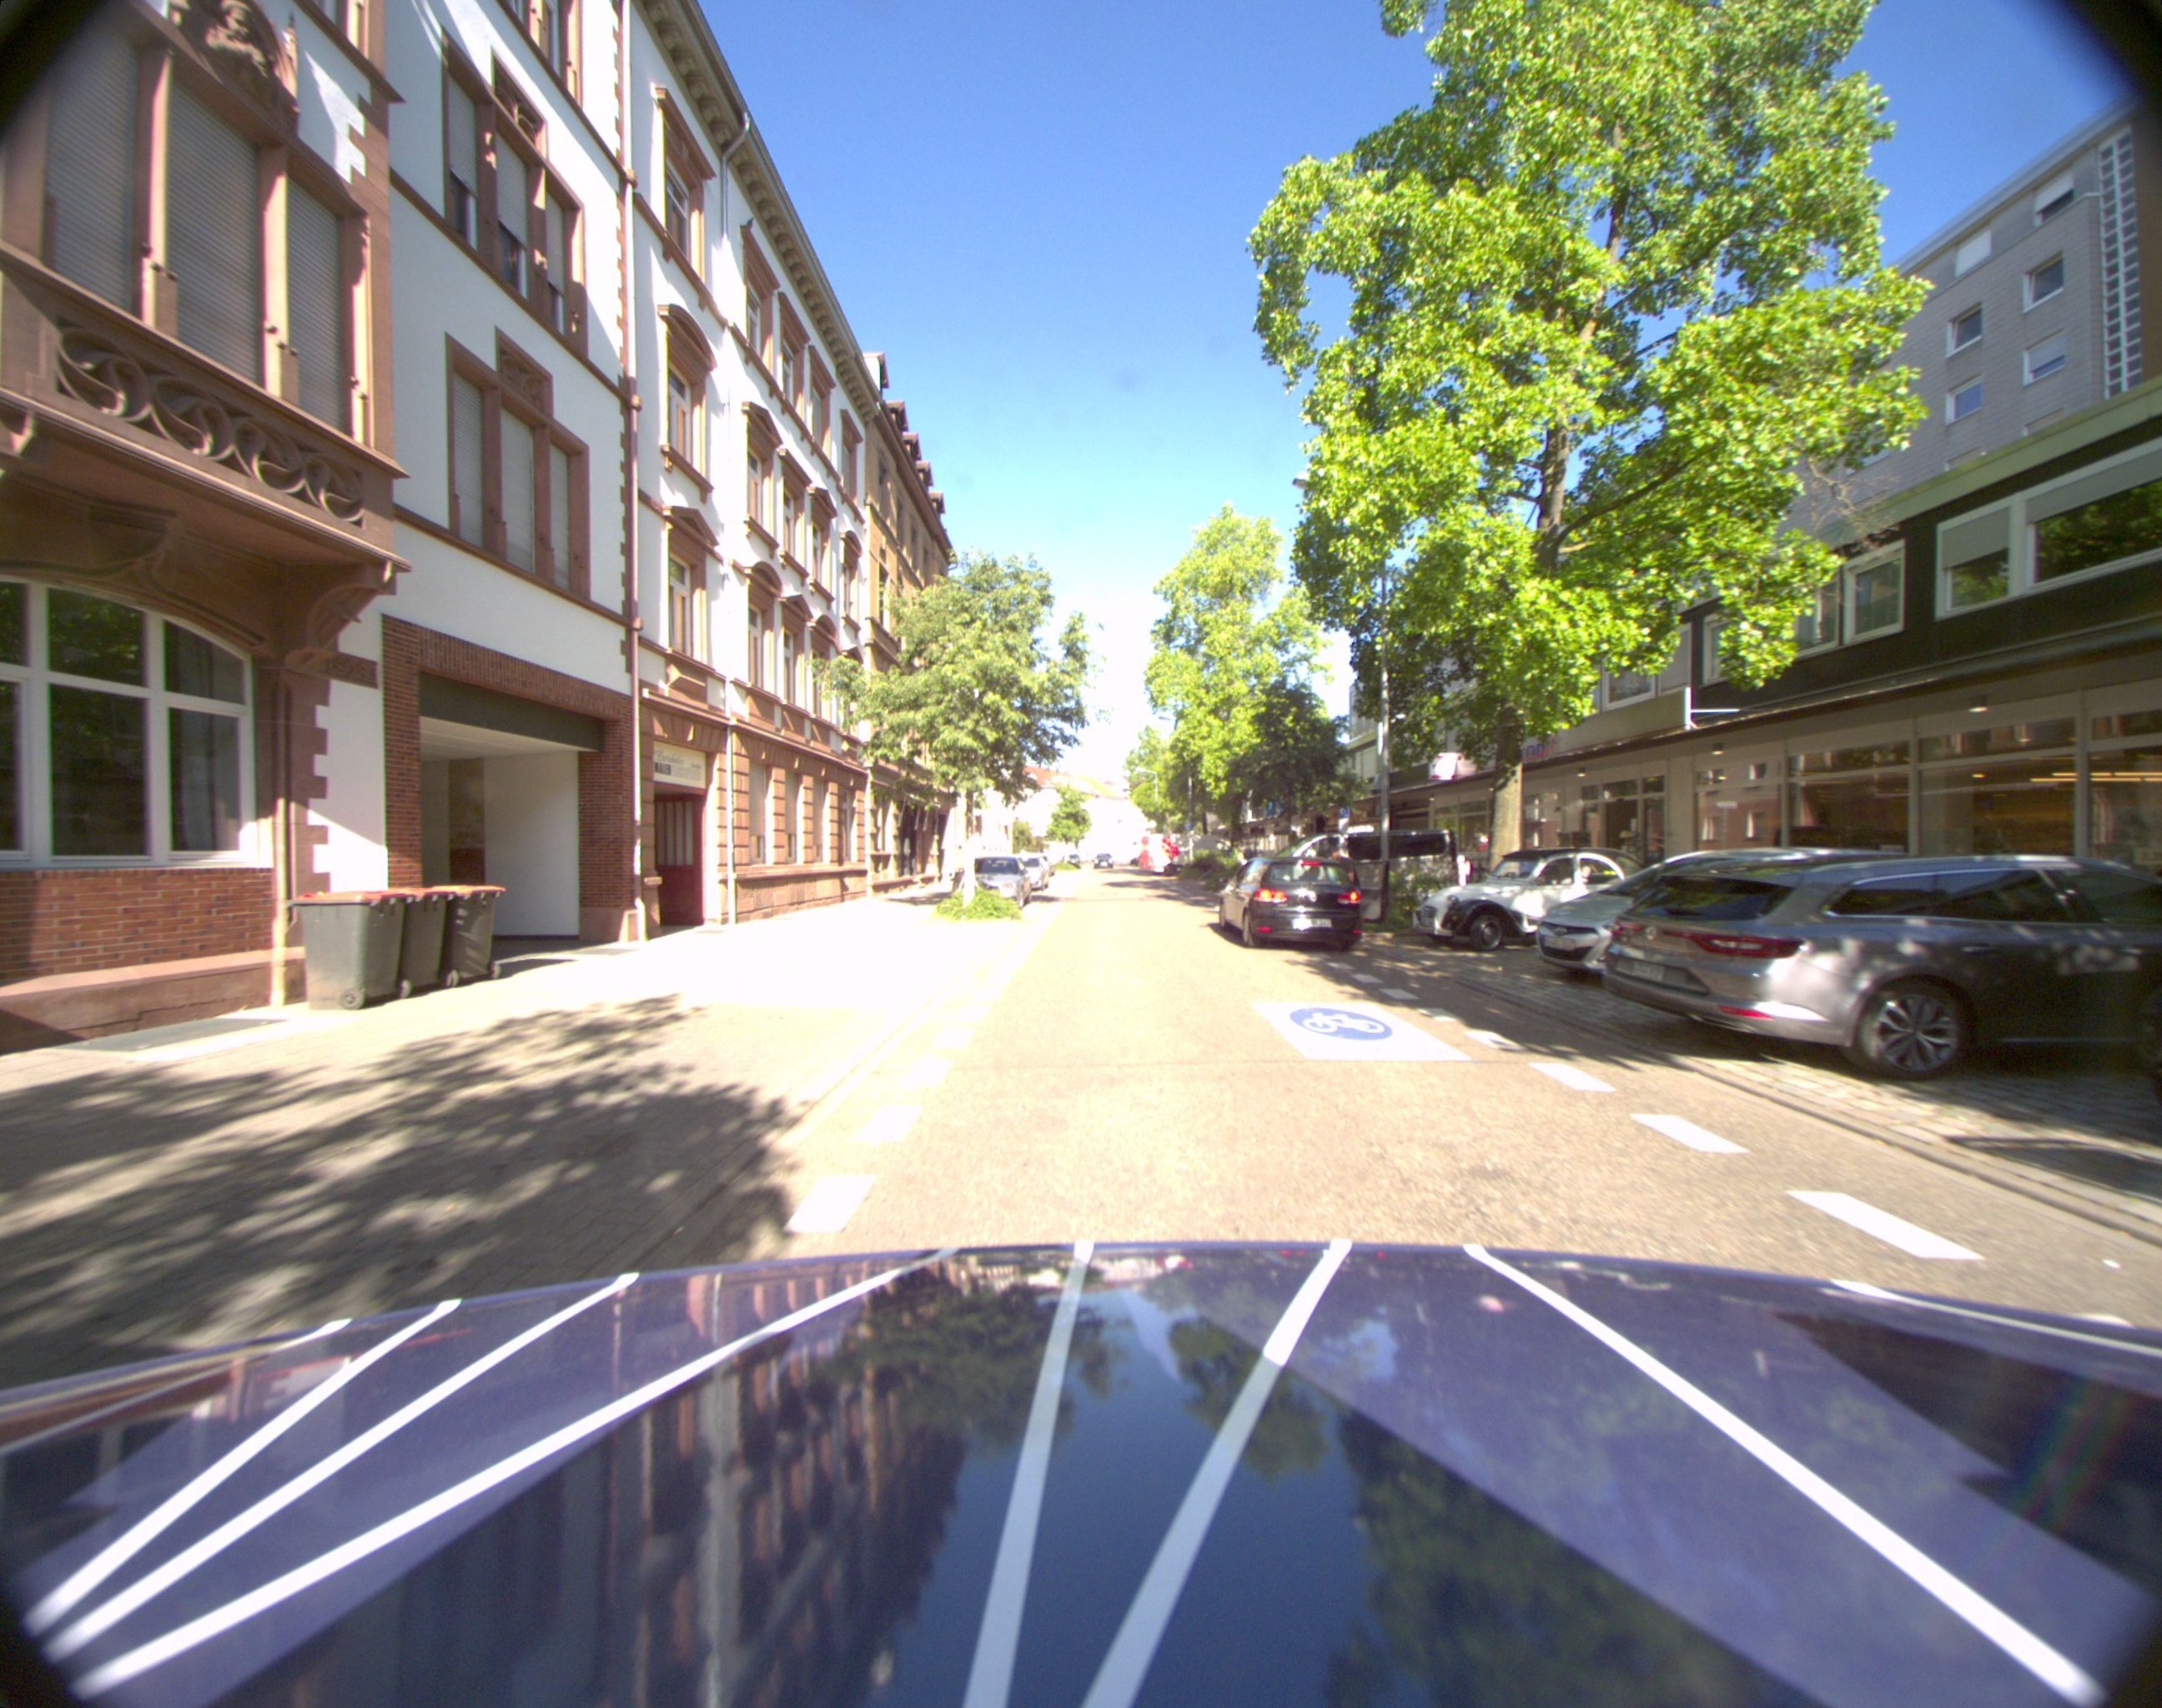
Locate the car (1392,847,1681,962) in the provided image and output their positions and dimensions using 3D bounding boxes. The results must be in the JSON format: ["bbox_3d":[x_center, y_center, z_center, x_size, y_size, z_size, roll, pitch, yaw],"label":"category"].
[{"bbox_3d":[6.973,0.703,11.804,3.610,1.543,1.683,-1,1,-9],"label":"car"}]

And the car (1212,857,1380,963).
[{"bbox_3d":[3.414,0.817,12.850,1.767,1.430,3.960,1,1,1],"label":"car"}]

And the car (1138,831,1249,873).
[{"bbox_3d":[6.995,-0.177,47.069,6.609,2.459,1.996,-1,1,-20],"label":"car"}]

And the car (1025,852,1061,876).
[{"bbox_3d":[-2.403,0.618,48.733,1.789,1.451,4.517,1,0,3],"label":"car"}]

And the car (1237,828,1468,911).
[{"bbox_3d":[6.950,0.391,19.894,5.305,1.963,2.015,-1,1,1],"label":"car"}]

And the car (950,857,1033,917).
[{"bbox_3d":[-2.355,0.833,21.053,1.743,1.443,4.307,0,0,1],"label":"car"}]

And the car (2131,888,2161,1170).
[{"bbox_3d":[7.623,0.849,3.101,4.315,1.425,1.644,-1,1,1],"label":"car"}]

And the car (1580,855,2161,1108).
[{"bbox_3d":[6.426,0.808,5.560,4.315,1.452,1.762,-2,1,3],"label":"car"}]

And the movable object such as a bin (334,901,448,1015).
[{"bbox_3d":[-6.858,1.017,7.570,0.639,1.063,0.521,0,1,1],"label":"movable object such as a bin"}]

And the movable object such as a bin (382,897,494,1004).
[{"bbox_3d":[-6.856,1.010,8.132,0.639,1.063,0.639,0,1,1],"label":"movable object such as a bin"}]

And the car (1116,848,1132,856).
[{"bbox_3d":[7.791,-0.429,137.578,1.632,1.412,3.299,0,1,25],"label":"car"}]

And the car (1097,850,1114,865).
[{"bbox_3d":[2.351,0.325,74.159,1.612,1.444,3.295,0,0,1],"label":"car"}]

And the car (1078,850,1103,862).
[{"bbox_3d":[1.565,0.316,122.884,1.908,1.924,4.818,0,0,28],"label":"car"}]

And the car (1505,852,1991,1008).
[{"bbox_3d":[7.254,0.752,8.545,3.998,1.455,1.812,-1,1,-4],"label":"car"}]

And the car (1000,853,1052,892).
[{"bbox_3d":[-2.149,0.694,30.750,1.743,1.443,4.000,0,0,1],"label":"car"}]

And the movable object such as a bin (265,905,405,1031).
[{"bbox_3d":[-6.819,1.020,6.975,0.639,1.063,0.632,0,1,1],"label":"movable object such as a bin"}]

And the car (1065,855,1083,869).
[{"bbox_3d":[-0.760,0.825,81.034,1.720,1.445,4.000,0,1,2],"label":"car"}]

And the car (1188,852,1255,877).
[{"bbox_3d":[8.272,0.600,44.936,3.603,1.412,1.831,-1,1,1],"label":"car"}]

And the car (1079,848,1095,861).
[{"bbox_3d":[0.772,0.008,92.759,1.861,1.499,4.000,-1,0,1],"label":"car"}]
